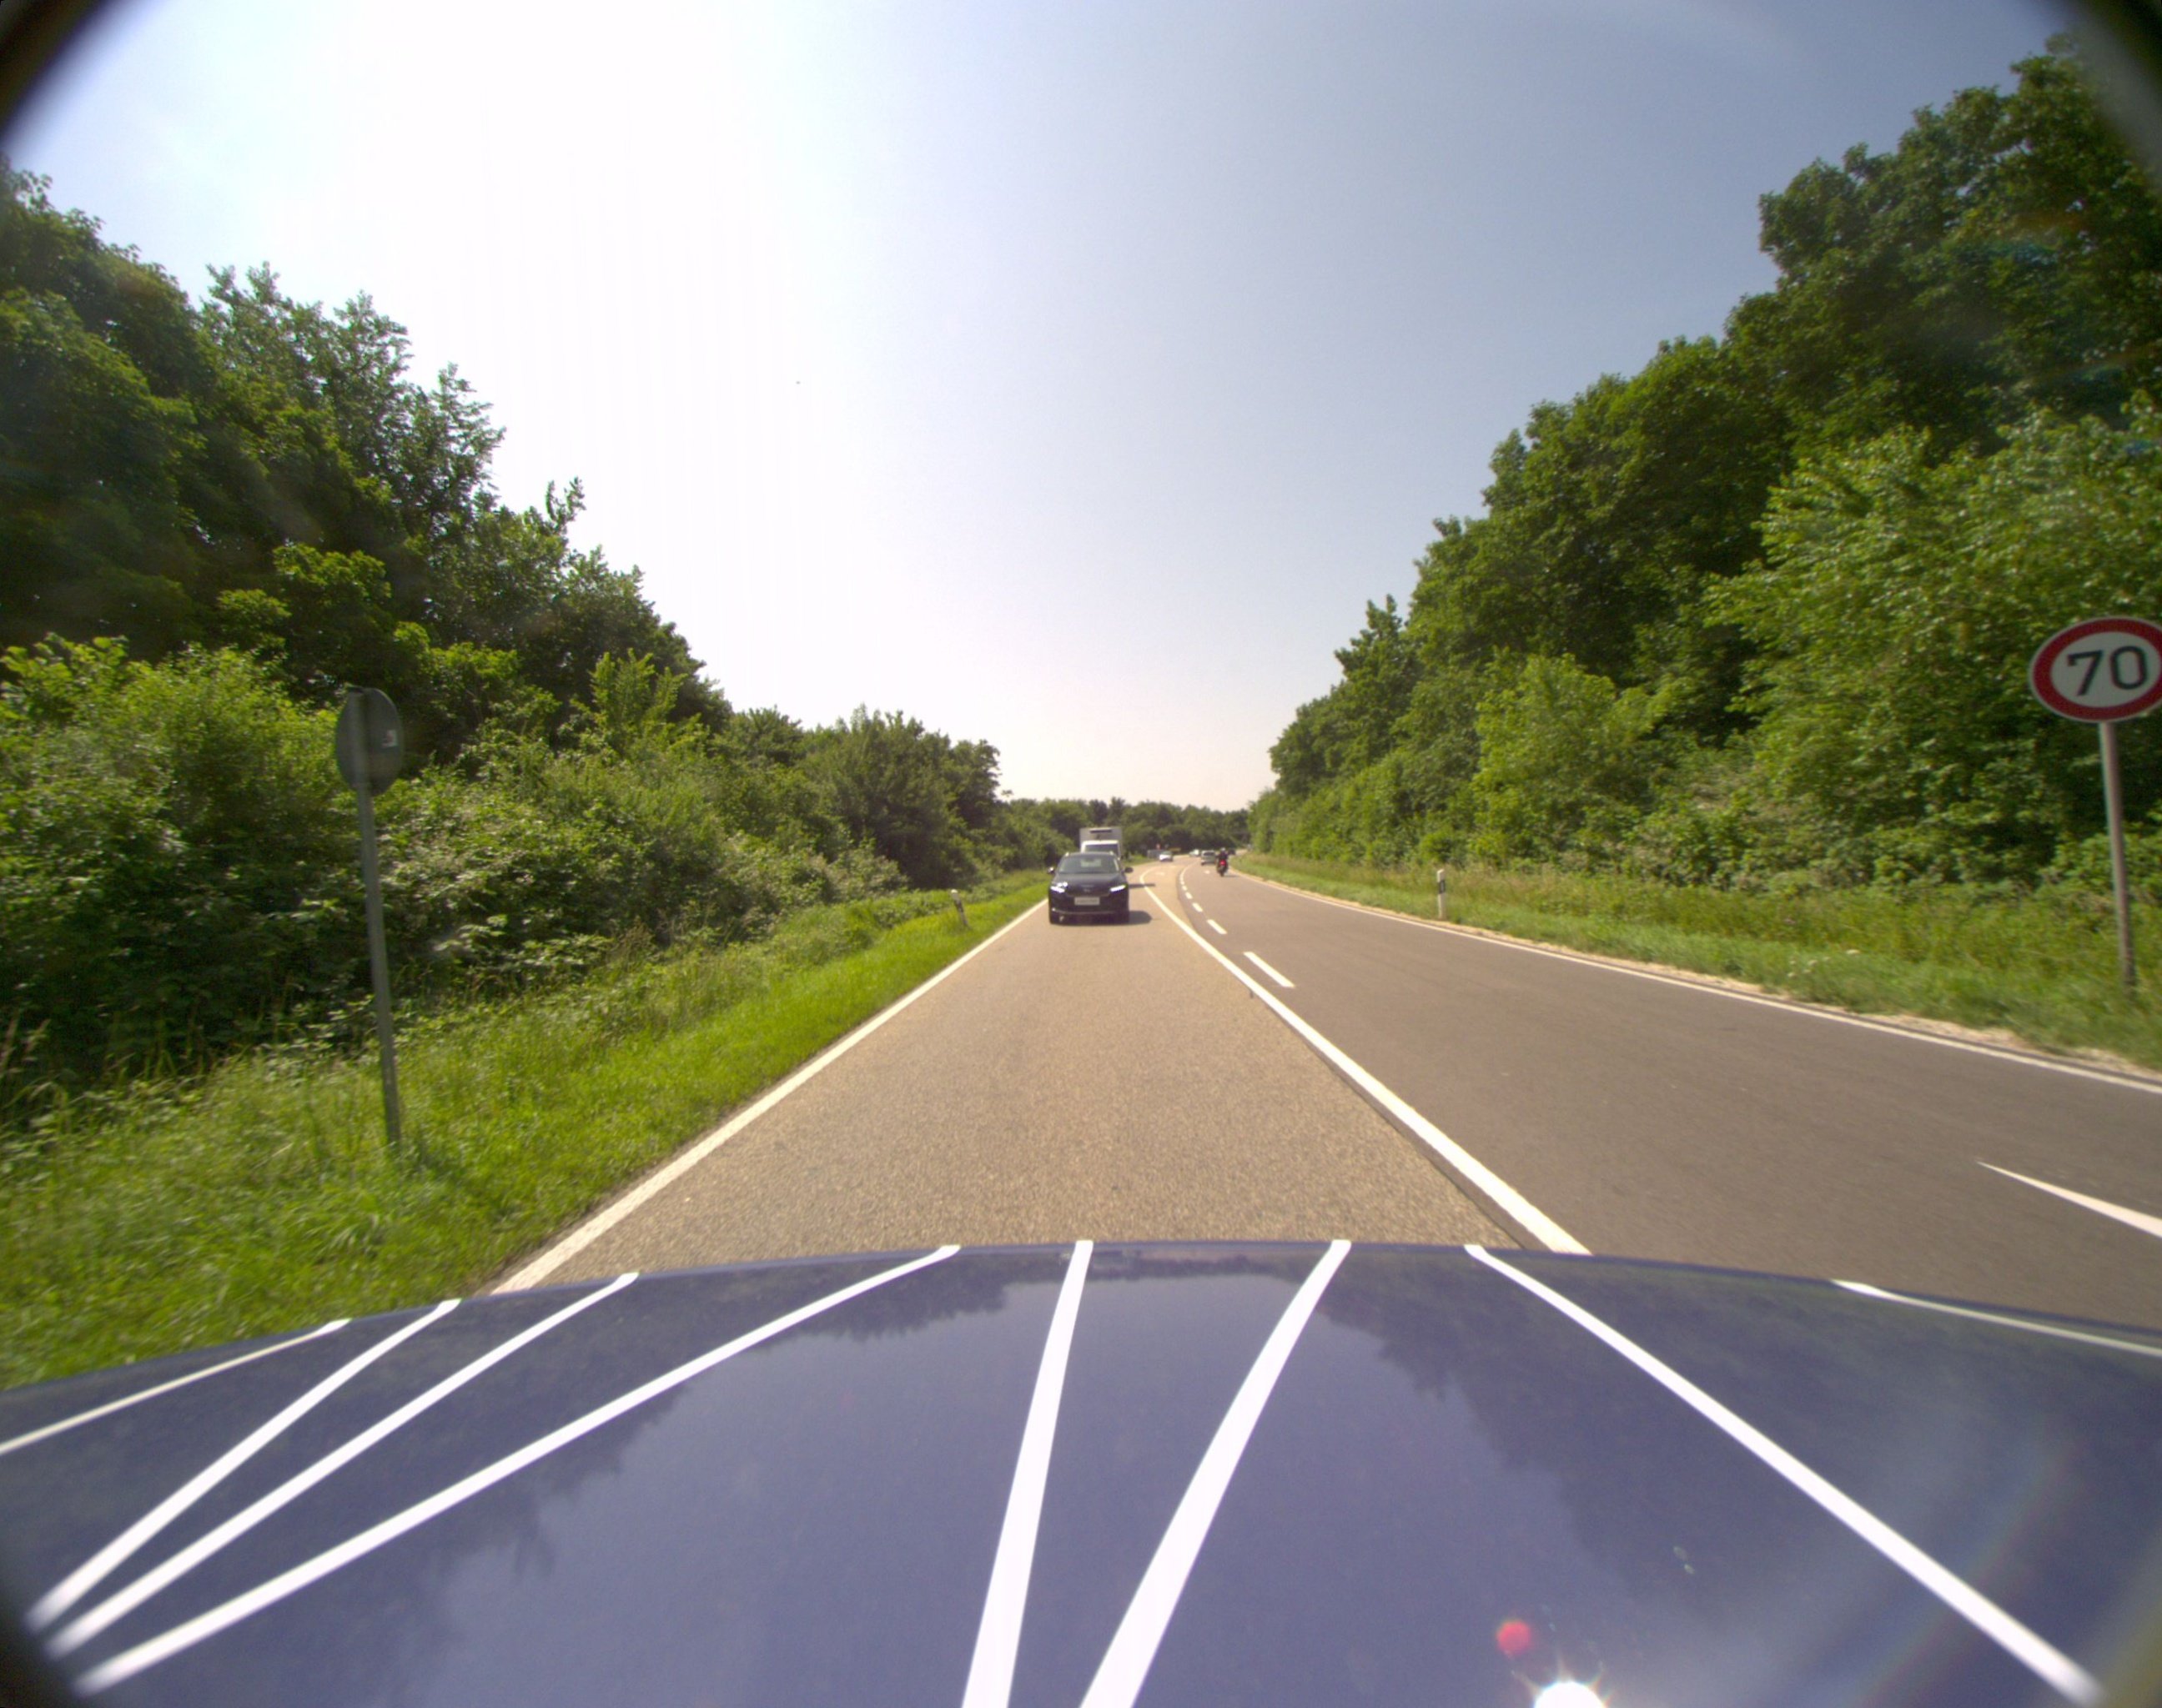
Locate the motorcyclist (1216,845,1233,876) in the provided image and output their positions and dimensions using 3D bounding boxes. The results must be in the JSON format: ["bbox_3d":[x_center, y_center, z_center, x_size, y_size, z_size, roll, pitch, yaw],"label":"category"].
[{"bbox_3d":[8.957,0.385,47.424,0.822,1.871,0.657,-2,1,1],"label":"motorcyclist"}]

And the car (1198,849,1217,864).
[{"bbox_3d":[14.499,0.226,87.316,1.806,1.627,4.213,-2,0,4],"label":"car"}]

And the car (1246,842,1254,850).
[{"bbox_3d":[43.561,-2.051,195.553,1.845,1.769,4.897,-2,0,12],"label":"car"}]

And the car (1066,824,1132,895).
[{"bbox_3d":[1.006,0.157,37.117,2.591,3.047,6.883,-2,1,6],"label":"car"}]

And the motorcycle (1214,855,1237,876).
[{"bbox_3d":[8.975,0.707,47.420,0.949,1.243,2.682,-2,0,1],"label":"motorcycle"}]

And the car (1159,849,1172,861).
[{"bbox_3d":[13.308,0.086,119.989,1.808,1.797,4.001,-2,0,4],"label":"car"}]

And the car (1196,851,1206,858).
[{"bbox_3d":[24.590,0.093,155.969,1.711,1.411,4.101,-2,1,14],"label":"car"}]

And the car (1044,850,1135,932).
[{"bbox_3d":[0.249,0.810,19.597,1.924,1.711,5.479,-3,0,1],"label":"car"}]

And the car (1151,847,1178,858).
[{"bbox_3d":[16.862,-0.324,153.808,5.227,1.896,2.012,-3,2,-3],"label":"car"}]

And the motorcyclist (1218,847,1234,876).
[{"bbox_3d":[8.914,0.458,46.708,0.832,1.742,0.623,-2,1,1],"label":"motorcyclist"}]

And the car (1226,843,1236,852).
[{"bbox_3d":[30.628,-1.316,155.168,1.805,1.627,4.214,-2,0,9],"label":"car"}]
